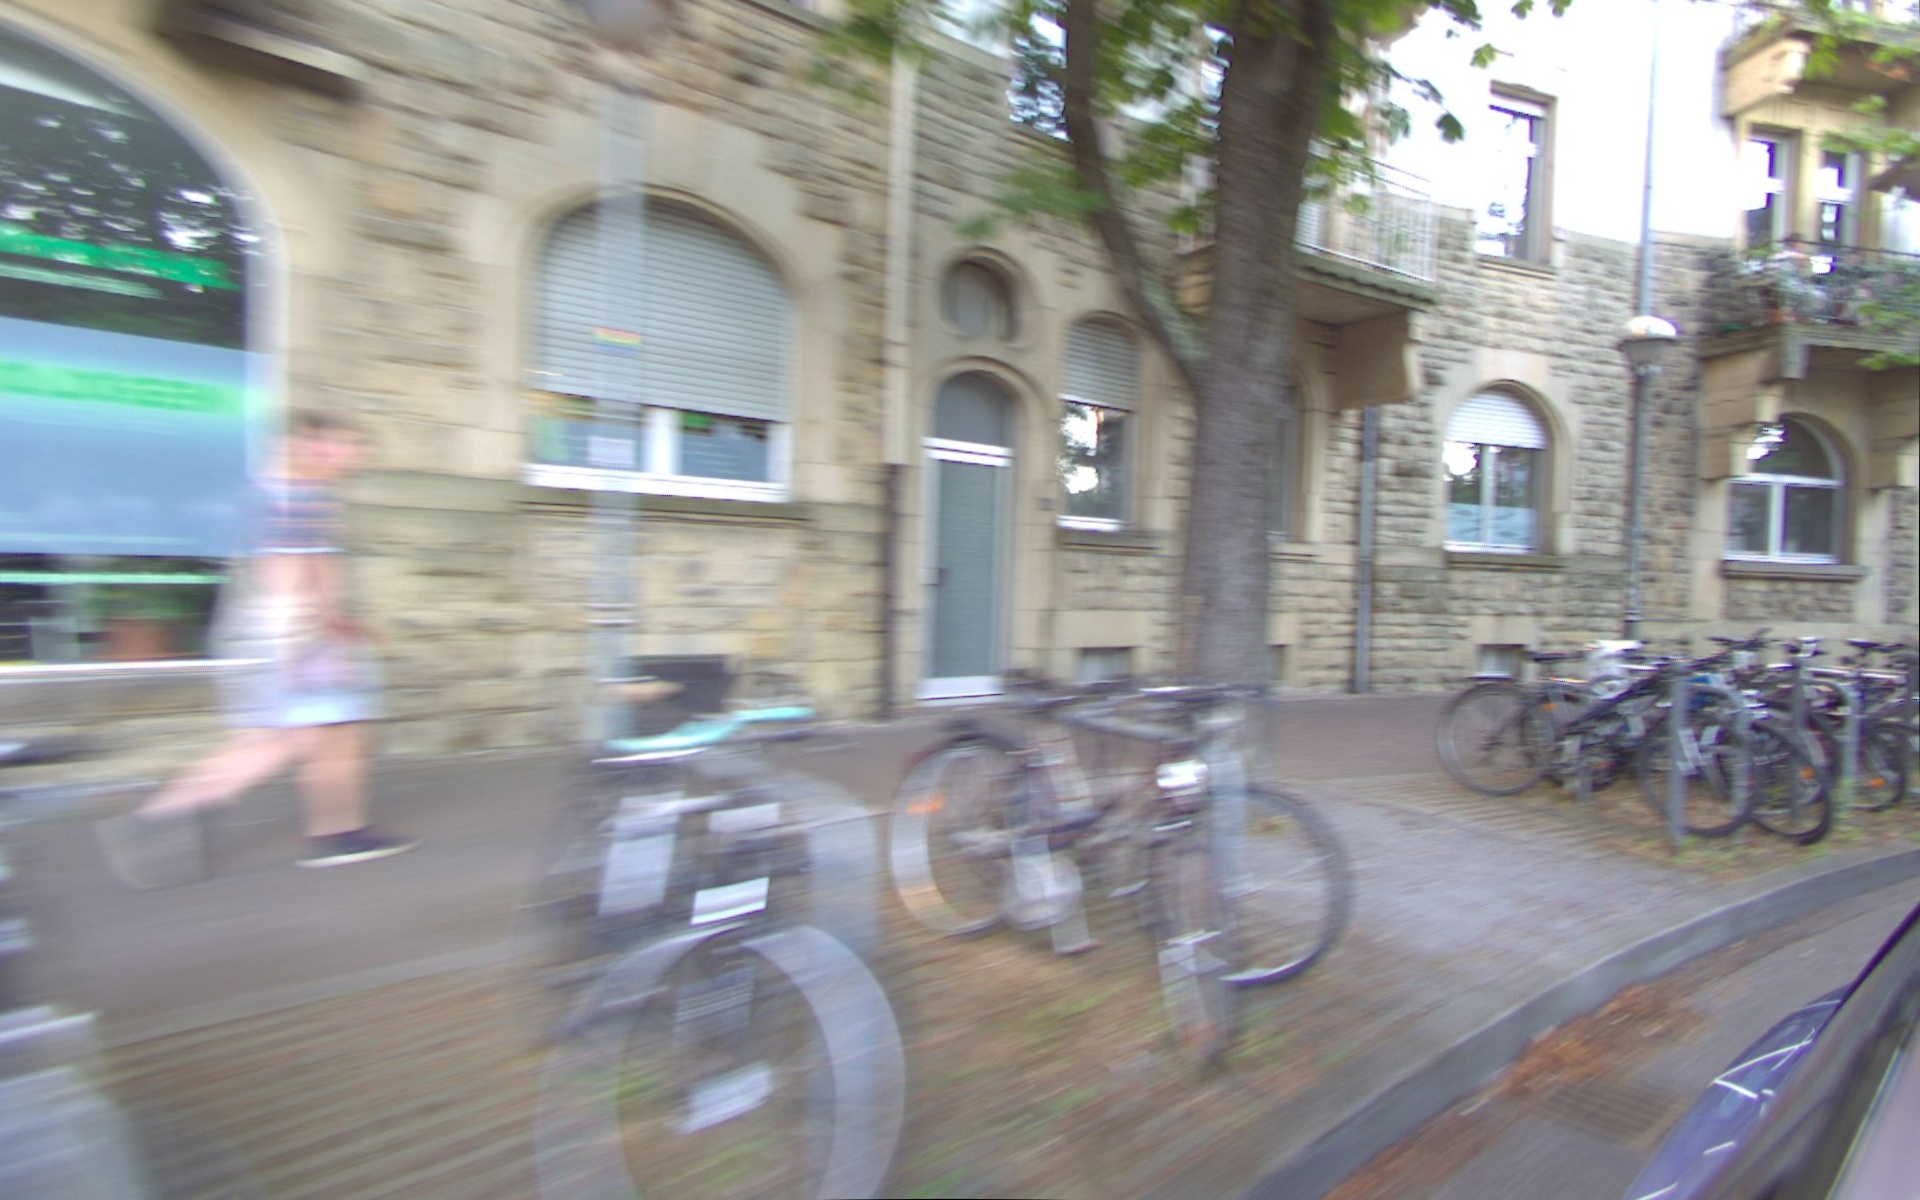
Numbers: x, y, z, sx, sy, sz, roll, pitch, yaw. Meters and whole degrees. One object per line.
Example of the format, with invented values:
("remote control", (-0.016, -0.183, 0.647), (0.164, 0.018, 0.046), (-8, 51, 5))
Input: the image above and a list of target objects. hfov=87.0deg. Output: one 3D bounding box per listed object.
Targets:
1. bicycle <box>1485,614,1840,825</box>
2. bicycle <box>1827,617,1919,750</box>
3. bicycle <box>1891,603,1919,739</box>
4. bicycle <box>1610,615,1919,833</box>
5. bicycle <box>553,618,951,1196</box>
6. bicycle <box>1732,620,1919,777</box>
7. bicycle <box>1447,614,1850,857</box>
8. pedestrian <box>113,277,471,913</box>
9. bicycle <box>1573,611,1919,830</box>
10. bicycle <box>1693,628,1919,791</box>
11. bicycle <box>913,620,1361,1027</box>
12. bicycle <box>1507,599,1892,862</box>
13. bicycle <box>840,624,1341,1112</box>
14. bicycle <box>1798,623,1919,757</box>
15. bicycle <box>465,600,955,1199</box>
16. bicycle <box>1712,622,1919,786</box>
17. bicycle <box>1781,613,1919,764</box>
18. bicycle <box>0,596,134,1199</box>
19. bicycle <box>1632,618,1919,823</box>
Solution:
("bicycle", (4.598, 0.706, 6.727), (1.849, 1.118, 0.565), (4, 2, 42))
("bicycle", (8.498, 0.743, 8.381), (0.541, 1.078, 1.925), (1, 2, -23))
("bicycle", (9.215, 0.685, 8.524), (0.541, 1.215, 1.925), (1, 2, -23))
("bicycle", (5.541, 0.769, 6.845), (0.412, 1.137, 1.859), (-19, 10, -23))
("bicycle", (-0.709, 0.651, 2.912), (0.477, 1.091, 1.676), (1, 2, -35))
("bicycle", (7.217, 0.759, 7.838), (0.524, 1.074, 1.925), (1, 2, -24))
("bicycle", (3.960, 0.708, 5.988), (0.483, 1.154, 1.884), (5, -2, -38))
("pedestrian", (-2.694, -0.031, 4.078), (1.041, 2.111, 1.013), (1, 2, -39))
("bicycle", (5.151, 0.705, 6.751), (0.410, 1.158, 1.859), (1, 2, -25))
("bicycle", (6.550, 0.781, 7.466), (0.410, 1.012, 1.859), (1, 2, -25))
("bicycle", (0.553, 0.675, 3.758), (0.478, 1.091, 1.672), (0, 2, -42))
("bicycle", (4.357, 0.675, 6.150), (0.482, 1.231, 1.889), (-5, 5, -24))
("bicycle", (0.305, 0.682, 3.275), (0.478, 1.091, 1.672), (0, 2, -42))
("bicycle", (7.992, 0.767, 8.191), (0.410, 1.026, 1.860), (1, 2, -21))
("bicycle", (-0.734, 0.636, 2.439), (0.477, 1.142, 1.676), (8, -2, -34))
("bicycle", (6.806, 0.763, 7.593), (0.410, 1.064, 1.859), (1, 2, -25))
("bicycle", (7.711, 0.723, 8.038), (0.410, 1.130, 1.860), (1, 2, -21))
("bicycle", (-1.772, 0.625, 1.579), (0.692, 1.177, 1.889), (0, 2, -41))
("bicycle", (5.781, 0.774, 6.970), (0.412, 1.099, 1.859), (-19, 10, -23))
